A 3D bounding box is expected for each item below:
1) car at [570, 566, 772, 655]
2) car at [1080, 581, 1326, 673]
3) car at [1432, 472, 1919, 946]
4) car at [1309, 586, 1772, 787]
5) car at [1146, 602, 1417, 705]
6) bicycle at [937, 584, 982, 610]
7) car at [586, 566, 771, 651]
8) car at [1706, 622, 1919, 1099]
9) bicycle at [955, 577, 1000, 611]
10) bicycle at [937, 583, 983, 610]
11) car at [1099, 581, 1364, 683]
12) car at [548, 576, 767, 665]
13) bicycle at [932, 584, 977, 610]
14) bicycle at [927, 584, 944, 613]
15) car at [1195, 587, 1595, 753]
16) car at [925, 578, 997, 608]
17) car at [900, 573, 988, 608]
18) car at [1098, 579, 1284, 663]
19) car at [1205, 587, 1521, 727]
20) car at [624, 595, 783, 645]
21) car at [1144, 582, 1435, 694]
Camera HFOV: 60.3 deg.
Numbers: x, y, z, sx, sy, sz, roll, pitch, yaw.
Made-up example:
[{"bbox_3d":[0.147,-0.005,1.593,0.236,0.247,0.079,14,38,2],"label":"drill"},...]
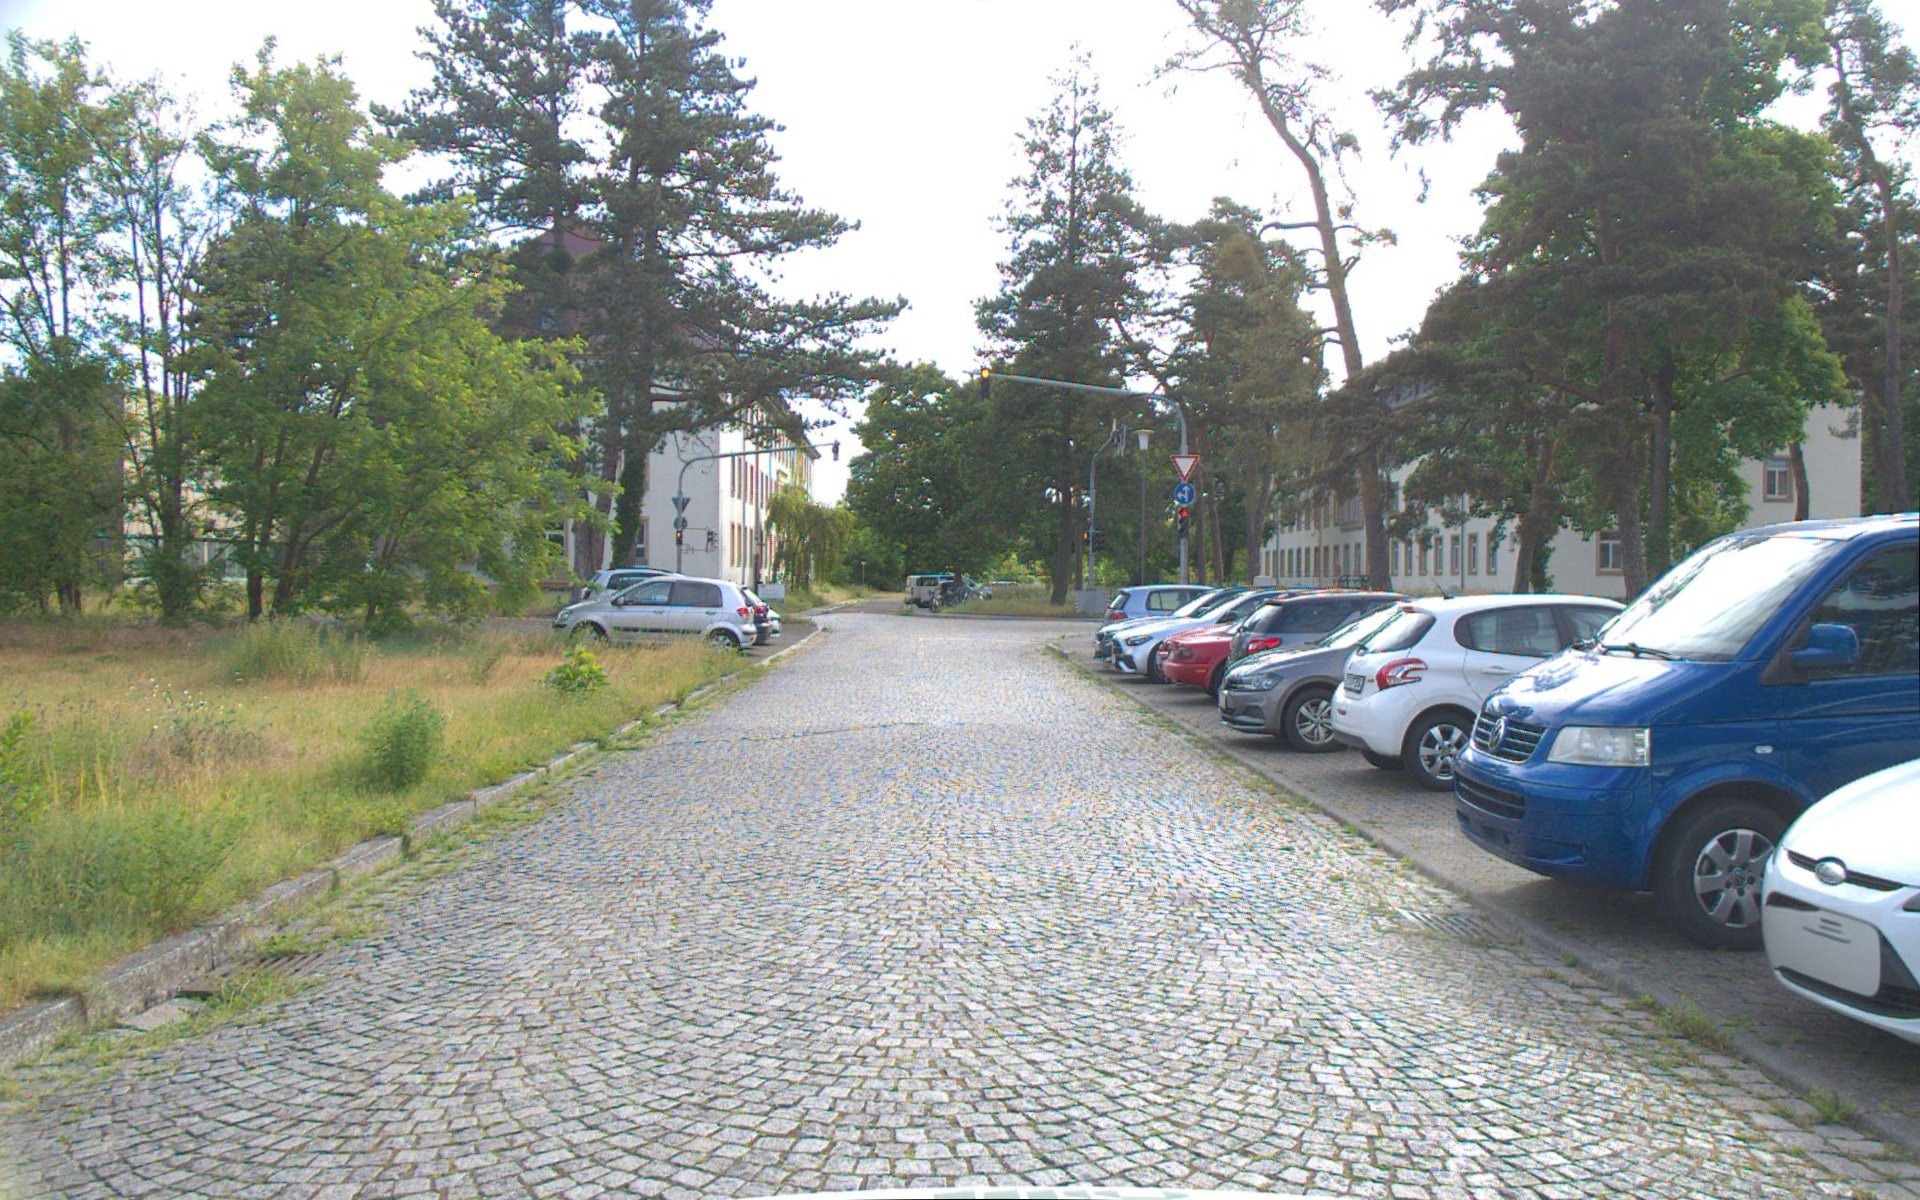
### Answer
[{"bbox_3d":[-5.776,0.195,33.436,3.912,1.735,1.997,0,1,-8],"label":"car"},{"bbox_3d":[4.295,0.459,29.488,4.044,1.570,1.661,0,1,-7],"label":"car"},{"bbox_3d":[4.954,0.482,8.263,4.687,2.075,1.737,0,1,-4],"label":"car"},{"bbox_3d":[4.704,0.666,13.687,3.227,1.531,1.663,0,1,-4],"label":"car"},{"bbox_3d":[4.265,0.691,22.191,3.230,1.289,1.662,0,1,-7],"label":"car"},{"bbox_3d":[-0.019,-0.151,81.503,2.120,1.290,0.811,1,0,-8],"label":"bicycle"},{"bbox_3d":[-6.175,0.180,36.510,3.913,1.780,1.923,1,1,-9],"label":"car"},{"bbox_3d":[4.795,0.803,5.773,3.649,1.449,1.653,-1,1,-4],"label":"car"},{"bbox_3d":[0.878,-0.303,82.239,2.120,1.644,0.811,1,0,-8],"label":"bicycle"},{"bbox_3d":[0.000,-0.151,80.916,2.120,1.290,0.811,1,0,-8],"label":"bicycle"},{"bbox_3d":[4.330,0.492,26.671,3.911,1.570,1.661,0,1,-7],"label":"car"},{"bbox_3d":[-5.584,0.358,30.953,3.912,1.579,1.997,0,1,-8],"label":"car"},{"bbox_3d":[-0.280,-0.157,82.709,2.120,1.290,0.811,1,0,-8],"label":"bicycle"},{"bbox_3d":[-1.139,-0.083,77.122,0.793,1.290,1.973,1,1,0],"label":"bicycle"},{"bbox_3d":[4.312,0.647,16.598,3.535,1.533,1.659,0,1,-12],"label":"car"},{"bbox_3d":[0.034,-0.414,95.465,3.912,1.673,1.997,1,1,-8],"label":"car"},{"bbox_3d":[-0.990,-0.576,98.712,4.962,2.049,1.994,1,1,-12],"label":"car"},{"bbox_3d":[4.456,0.394,32.063,3.324,1.570,1.389,0,1,-7],"label":"car"},{"bbox_3d":[4.705,0.629,19.488,3.234,1.530,1.659,0,1,-12],"label":"car"},{"bbox_3d":[-5.958,0.453,38.703,3.601,1.113,1.644,0,1,-8],"label":"car"},{"bbox_3d":[4.821,0.539,24.455,3.911,1.570,1.661,1,1,-7],"label":"car"}]
